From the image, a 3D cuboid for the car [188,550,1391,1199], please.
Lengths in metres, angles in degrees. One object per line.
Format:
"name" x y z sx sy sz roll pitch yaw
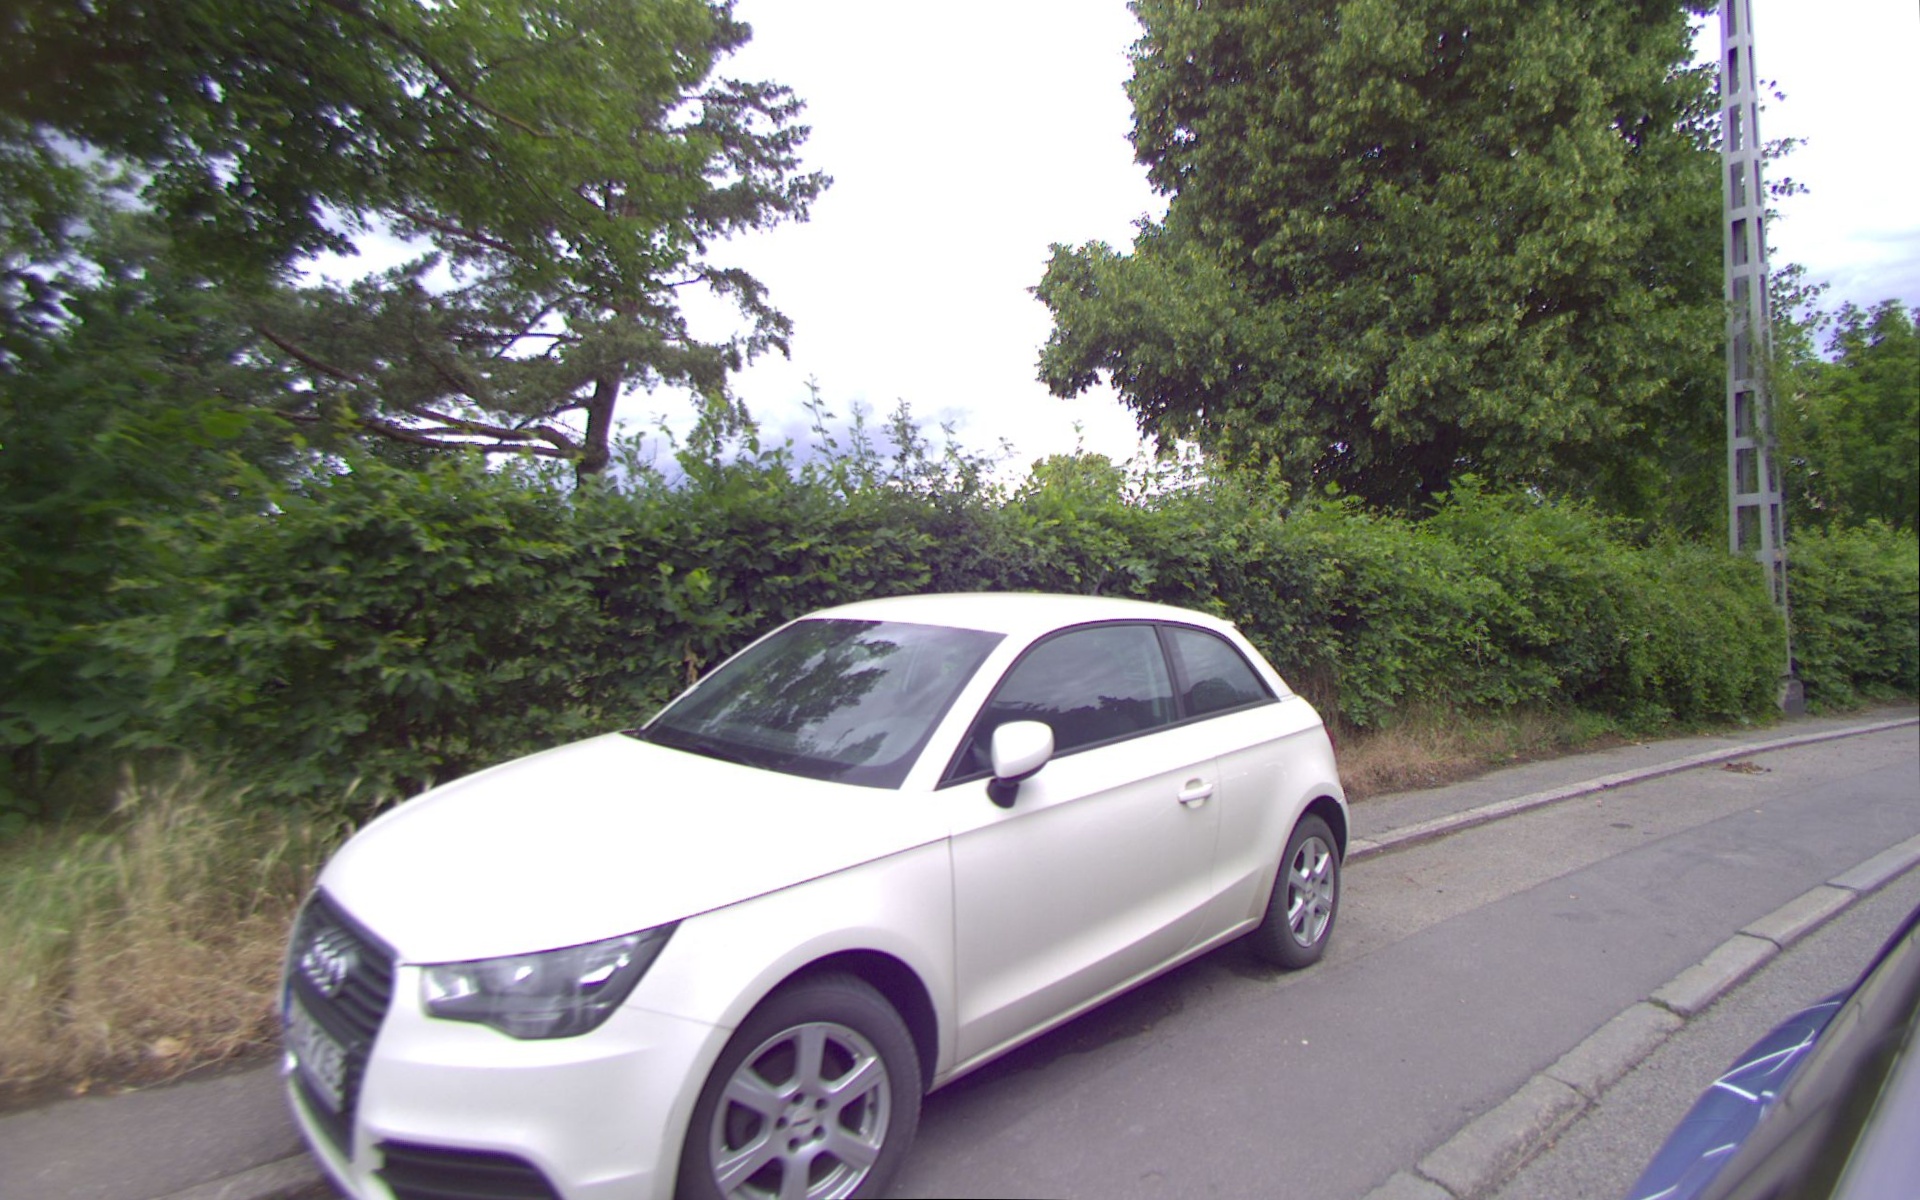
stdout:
"car" -0.140 0.593 3.591 1.777 1.436 3.937 2 2 44
